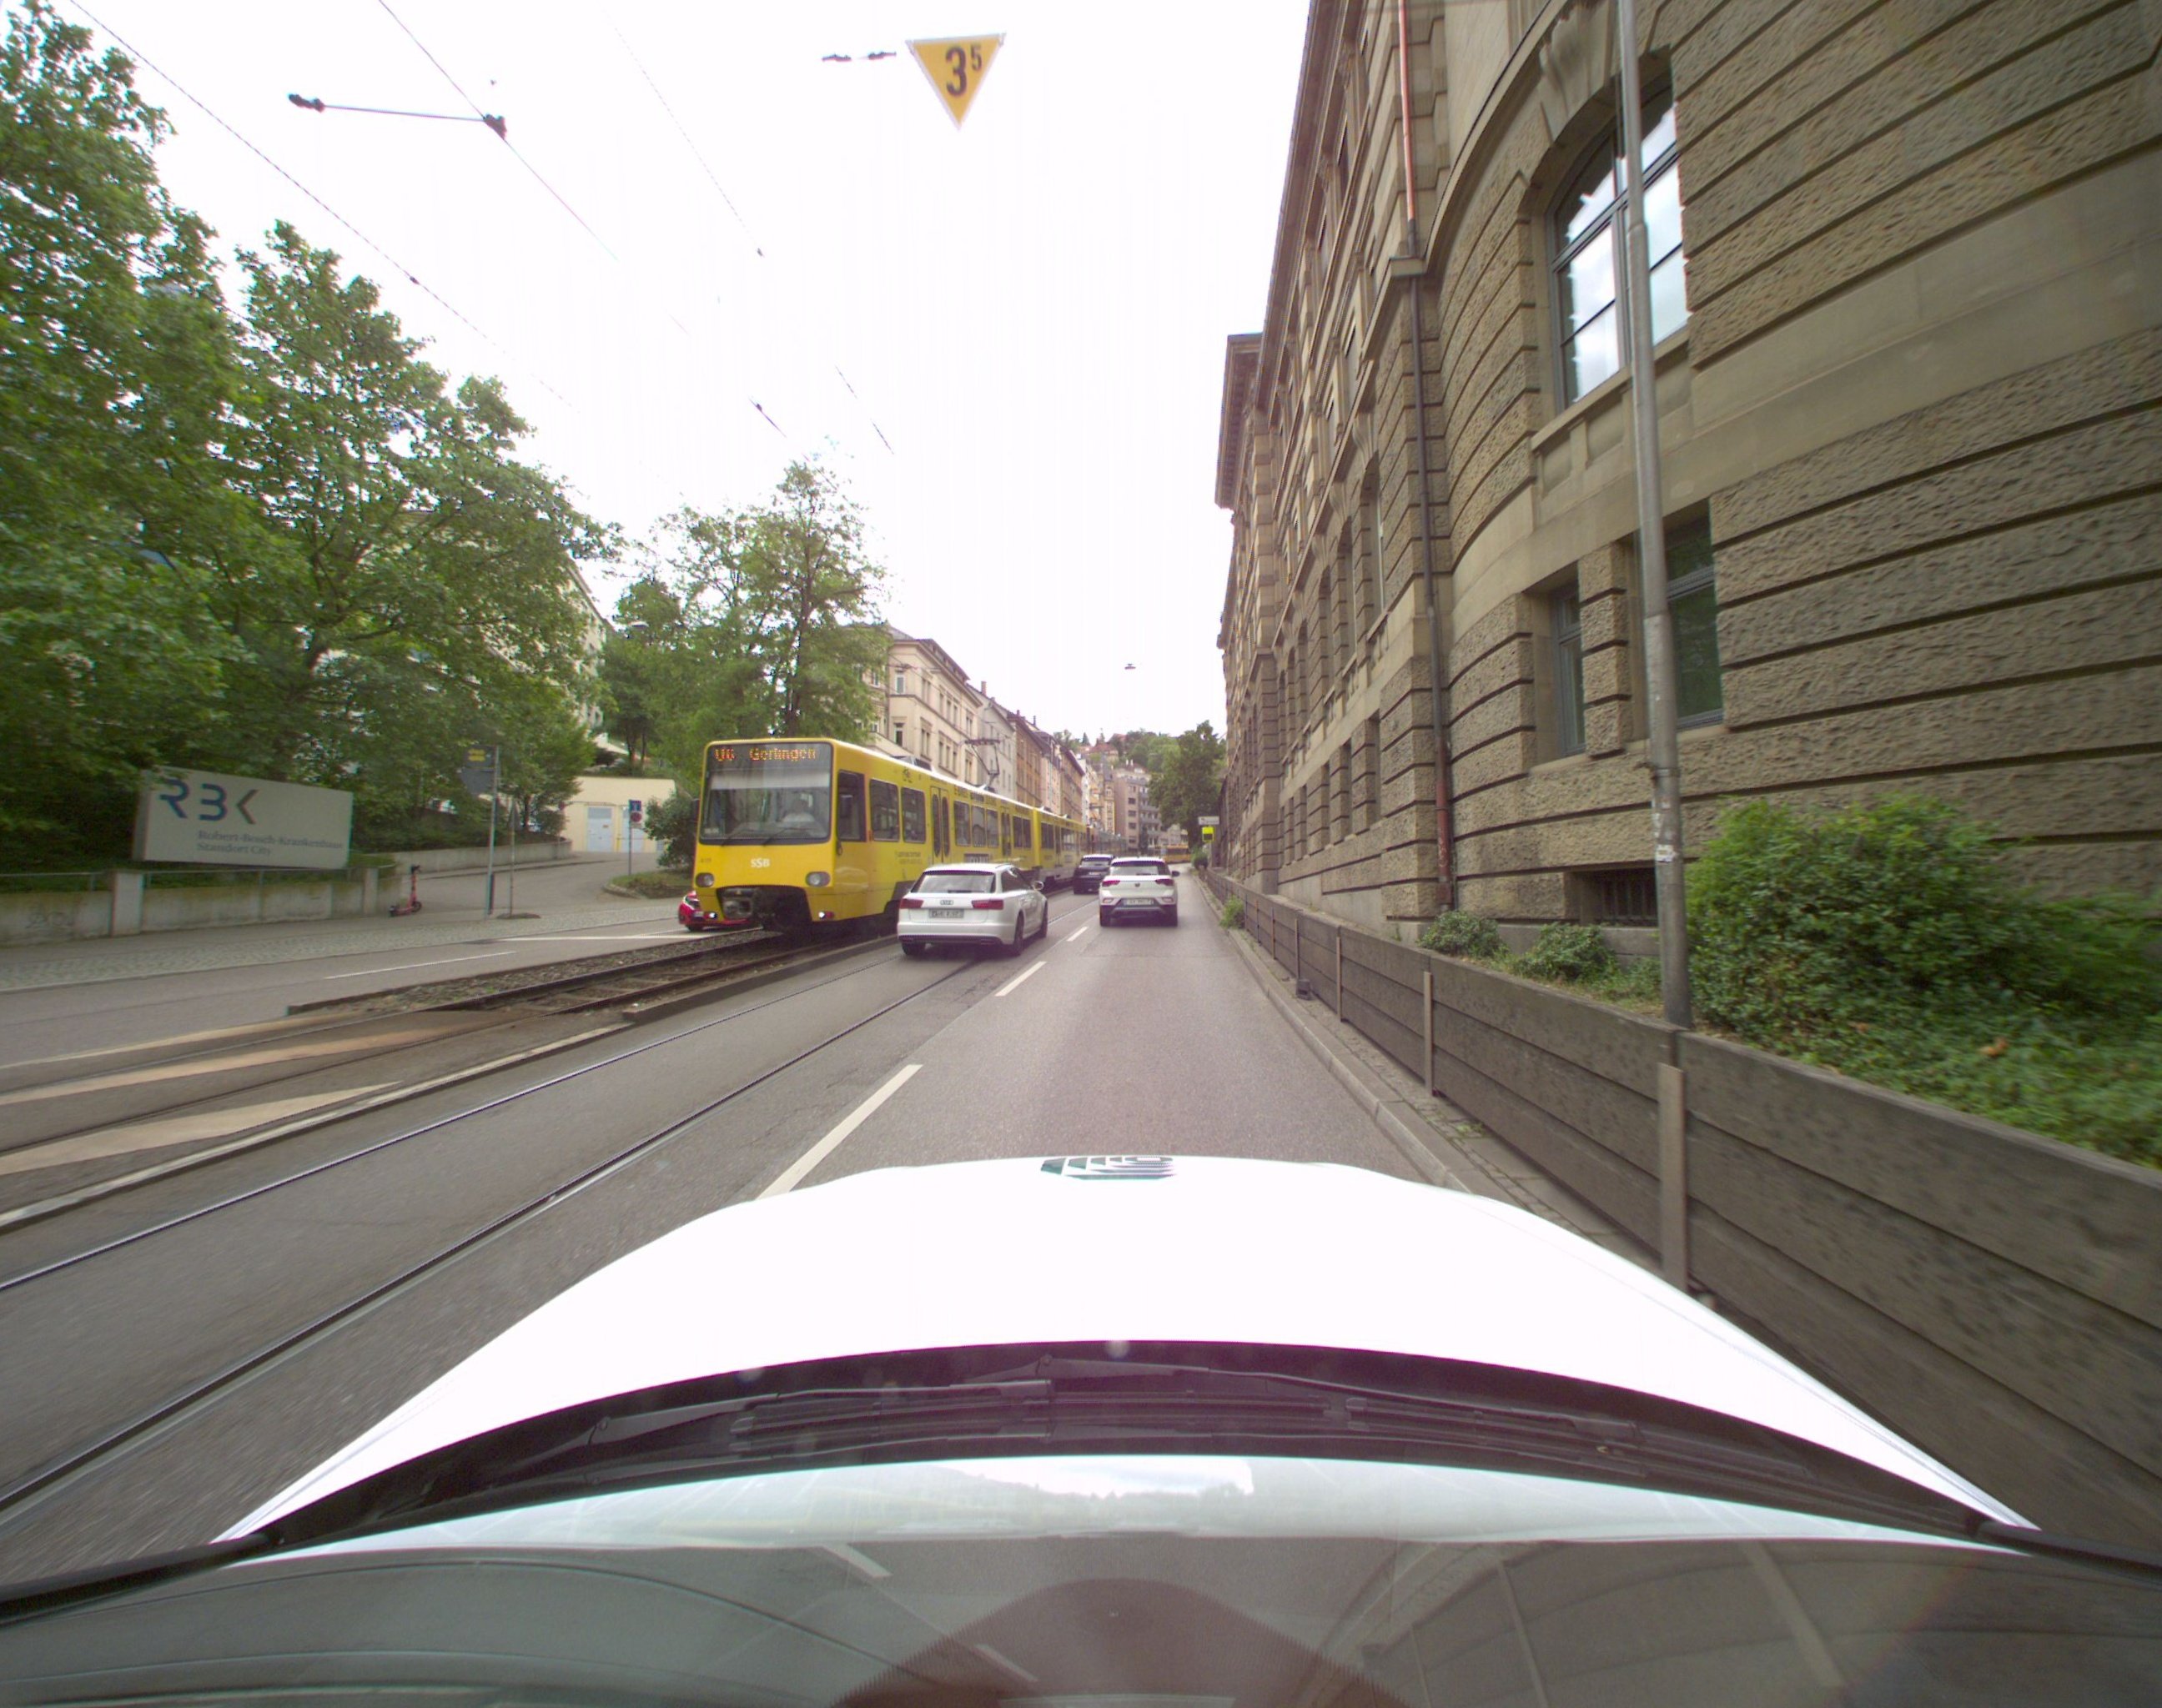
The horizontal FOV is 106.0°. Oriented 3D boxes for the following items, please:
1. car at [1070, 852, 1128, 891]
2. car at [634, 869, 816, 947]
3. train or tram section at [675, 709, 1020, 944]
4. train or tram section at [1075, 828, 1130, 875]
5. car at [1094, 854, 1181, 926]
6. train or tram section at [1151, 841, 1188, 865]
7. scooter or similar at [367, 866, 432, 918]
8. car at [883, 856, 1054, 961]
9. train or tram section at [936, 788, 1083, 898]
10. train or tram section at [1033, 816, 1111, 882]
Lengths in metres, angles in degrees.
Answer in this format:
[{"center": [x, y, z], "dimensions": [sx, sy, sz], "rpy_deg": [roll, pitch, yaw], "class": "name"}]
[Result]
[{"center": [0.847, 0.722, 35.411], "dimensions": [2.027, 1.571, 4.367], "rpy_deg": [-1, 0, 7], "class": "car"}, {"center": [-7.842, 1.126, 18.414], "dimensions": [1.983, 1.503, 4.007], "rpy_deg": [-1, 0, 7], "class": "car"}, {"center": [-4.319, -0.436, 20.454], "dimensions": [2.868, 3.726, 14.881], "rpy_deg": [1, 0, 6], "class": "train or tram section"}, {"center": [2.239, -0.200, 74.452], "dimensions": [2.860, 3.726, 18.798], "rpy_deg": [1, 0, 8], "class": "train or tram section"}, {"center": [1.423, 0.782, 19.668], "dimensions": [1.869, 1.554, 4.006], "rpy_deg": [-1, 0, 6], "class": "car"}, {"center": [16.947, -0.243, 153.826], "dimensions": [2.993, 4.214, 18.946], "rpy_deg": [-1, 0, 18], "class": "train or tram section"}, {"center": [-16.776, 0.919, 20.093], "dimensions": [0.490, 1.219, 1.634], "rpy_deg": [2, -1, -13], "class": "scooter or similar"}, {"center": [-1.723, 0.791, 14.107], "dimensions": [1.869, 1.455, 4.625], "rpy_deg": [1, 0, 6], "class": "car"}, {"center": [-2.424, -0.371, 37.180], "dimensions": [2.861, 3.726, 18.737], "rpy_deg": [1, 0, 7], "class": "train or tram section"}, {"center": [-0.178, -0.240, 55.825], "dimensions": [2.861, 3.726, 18.792], "rpy_deg": [1, 0, 7], "class": "train or tram section"}]
